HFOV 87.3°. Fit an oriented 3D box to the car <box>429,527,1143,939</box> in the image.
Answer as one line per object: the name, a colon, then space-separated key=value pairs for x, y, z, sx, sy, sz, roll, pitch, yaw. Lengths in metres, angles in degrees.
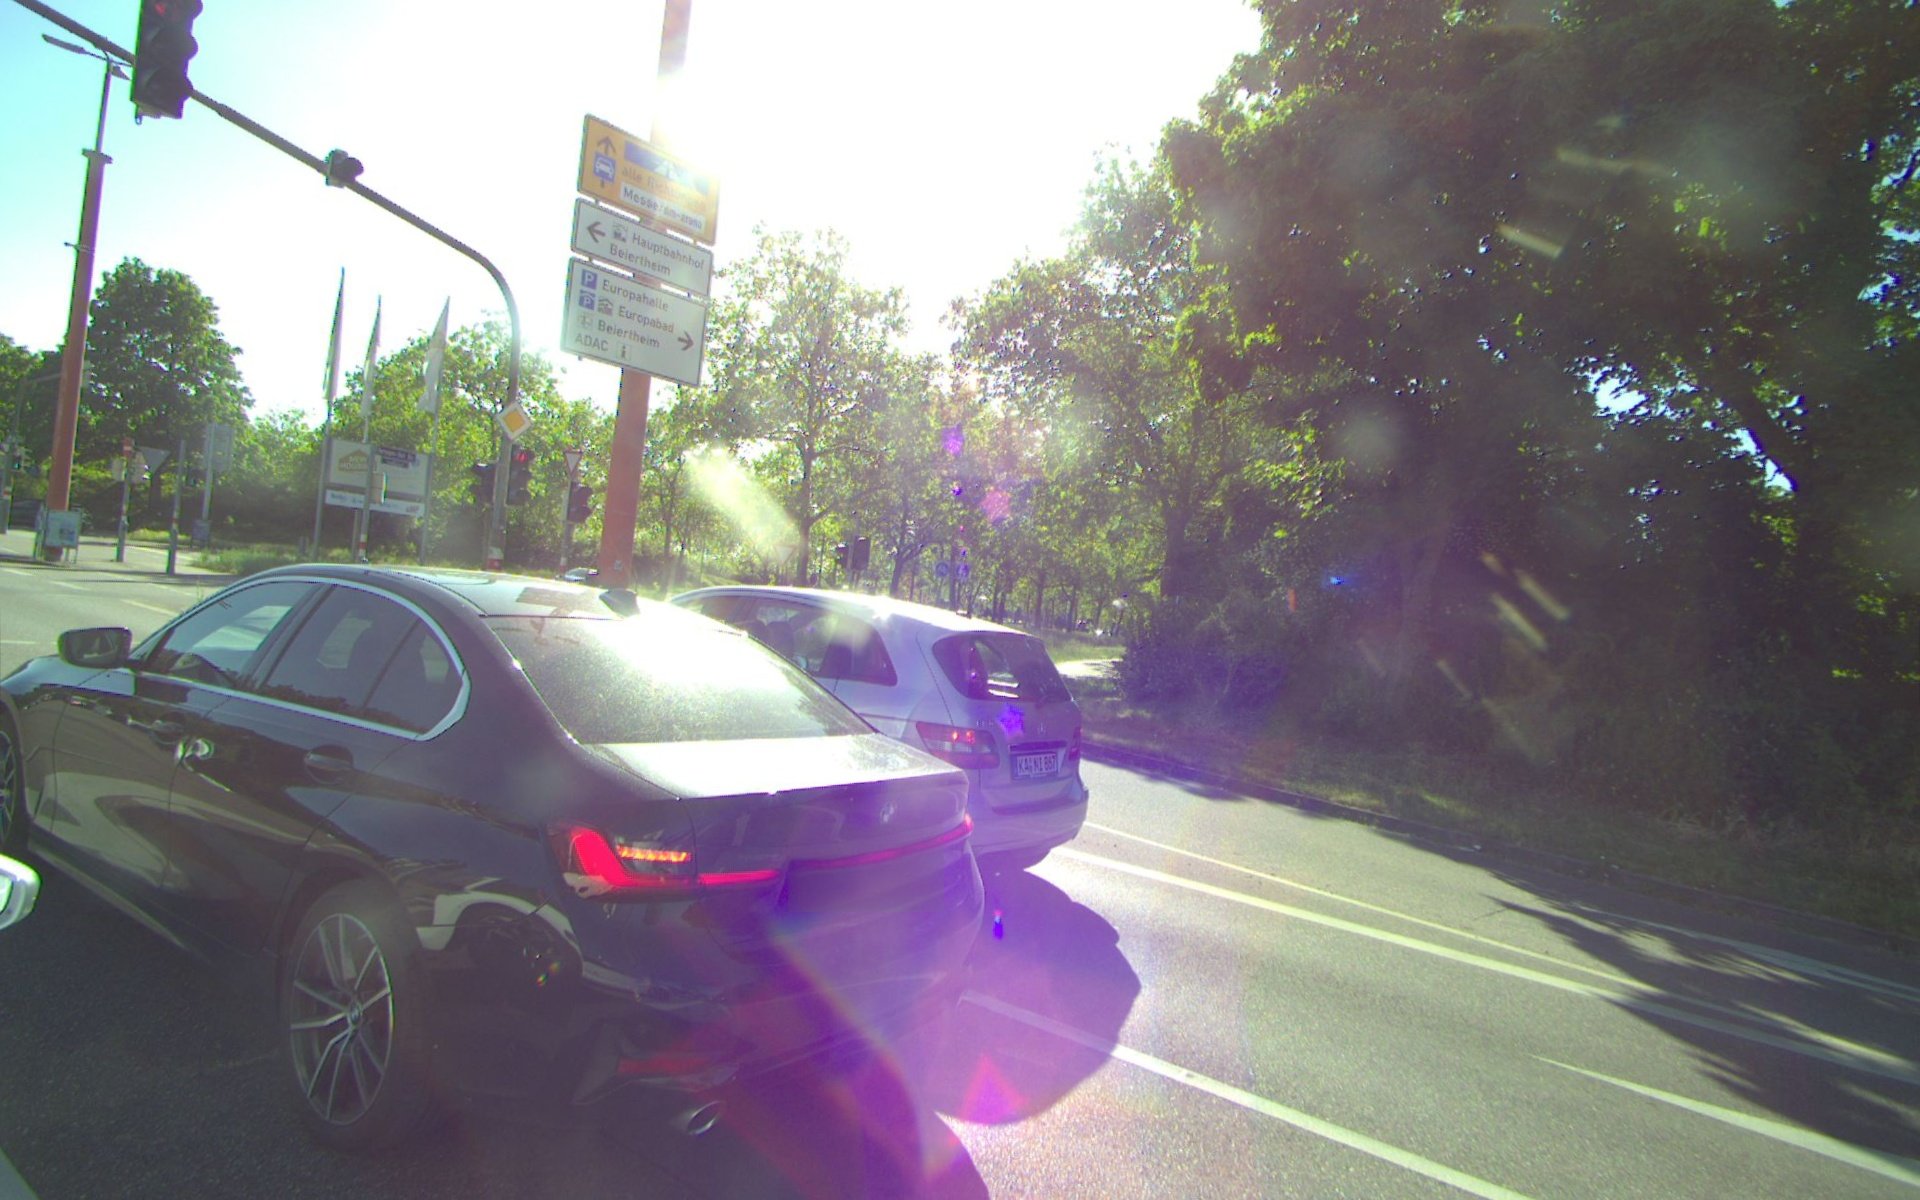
car: x=-1.284 y=0.640 z=6.790 sx=4.403 sy=1.706 sz=1.970 roll=7 pitch=-1 yaw=32

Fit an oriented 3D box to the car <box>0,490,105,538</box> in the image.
car: x=-41.488 y=-3.913 z=45.171 sx=4.232 sy=1.592 sz=2.151 roll=7 pitch=-1 yaw=-28

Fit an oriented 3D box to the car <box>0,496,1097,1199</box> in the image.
car: x=-1.962 y=0.529 z=3.882 sx=4.403 sy=1.411 sz=1.996 roll=7 pitch=0 yaw=32
